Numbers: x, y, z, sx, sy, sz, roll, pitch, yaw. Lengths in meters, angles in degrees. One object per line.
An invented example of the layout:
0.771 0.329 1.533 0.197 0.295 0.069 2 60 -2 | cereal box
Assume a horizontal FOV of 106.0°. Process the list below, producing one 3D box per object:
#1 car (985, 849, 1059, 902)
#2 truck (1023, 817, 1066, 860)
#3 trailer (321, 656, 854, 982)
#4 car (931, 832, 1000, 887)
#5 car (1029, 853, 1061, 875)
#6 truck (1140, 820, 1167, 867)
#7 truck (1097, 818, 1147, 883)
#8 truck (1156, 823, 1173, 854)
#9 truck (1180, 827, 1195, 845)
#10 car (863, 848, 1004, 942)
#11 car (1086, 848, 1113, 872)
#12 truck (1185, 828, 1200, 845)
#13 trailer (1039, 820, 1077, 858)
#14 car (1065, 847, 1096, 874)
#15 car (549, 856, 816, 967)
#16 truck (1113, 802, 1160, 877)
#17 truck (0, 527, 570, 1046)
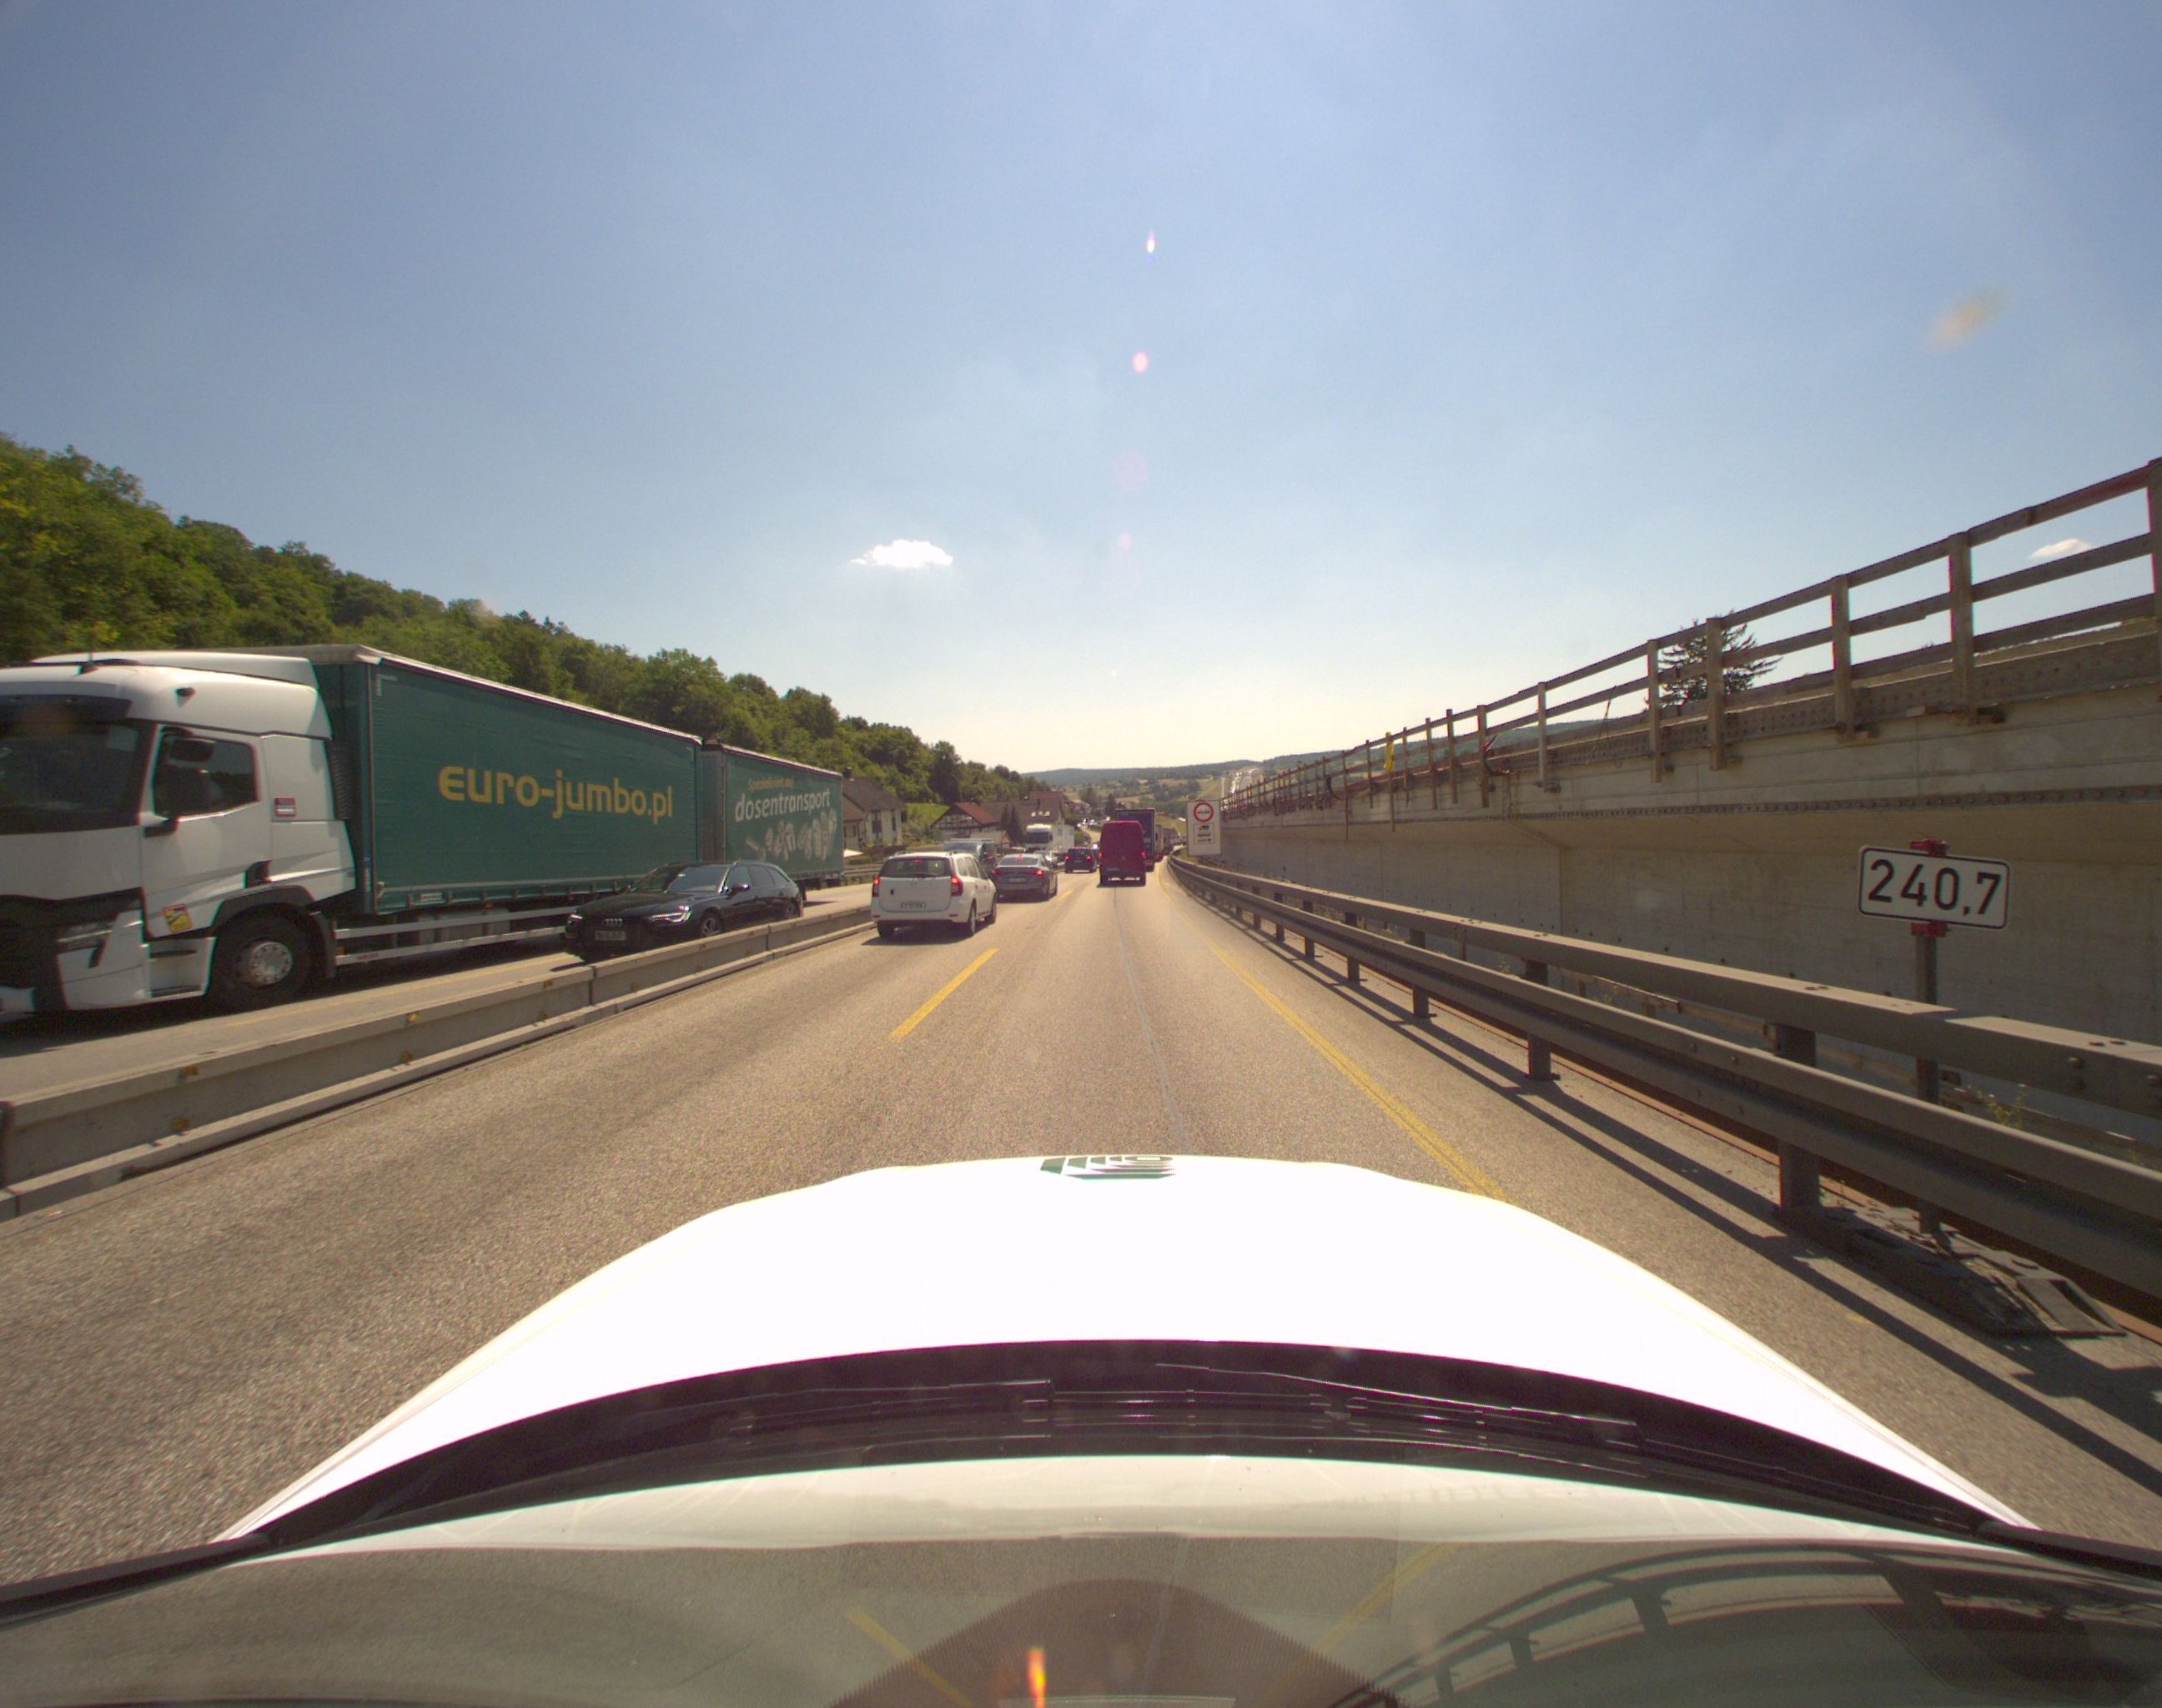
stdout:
-1.772 0.623 25.661 1.787 1.485 4.053 -2 0 3 | car
-3.633 -1.556 84.426 2.964 4.162 10.560 -1 1 5 | truck
-9.167 -0.428 19.005 2.822 4.641 14.592 -1 -1 3 | trailer
-4.904 0.241 35.284 1.985 2.173 4.837 -1 -1 3 | car
-2.581 0.713 59.303 1.573 1.521 4.162 -1 0 7 | car
8.026 -1.064 89.384 2.772 4.816 9.700 -1 -1 6 | truck
1.821 -0.120 35.118 1.984 2.578 4.004 -1 -1 4 | truck
12.395 -2.274 120.289 1.980 4.381 4.013 -1 -1 11 | truck
27.279 -4.557 207.969 3.049 4.381 8.584 -1 -1 12 | truck
-2.660 0.692 15.680 1.645 1.483 4.269 -3 -1 3 | car
1.530 0.472 65.975 1.720 1.838 4.008 -1 -1 7 | car
31.154 -4.962 228.037 3.445 4.381 8.584 -1 -1 12 | truck
-2.594 -1.669 94.202 2.988 4.165 9.035 -1 0 7 | trailer
0.013 0.422 52.347 1.803 1.608 3.721 -1 -1 3 | car
-6.111 0.796 13.277 1.895 1.462 4.758 -1 -1 2 | car
4.096 -0.908 57.844 2.772 4.816 9.702 -1 -1 7 | truck
-9.739 -0.556 10.137 2.834 4.580 5.792 -1 -1 3 | truck
